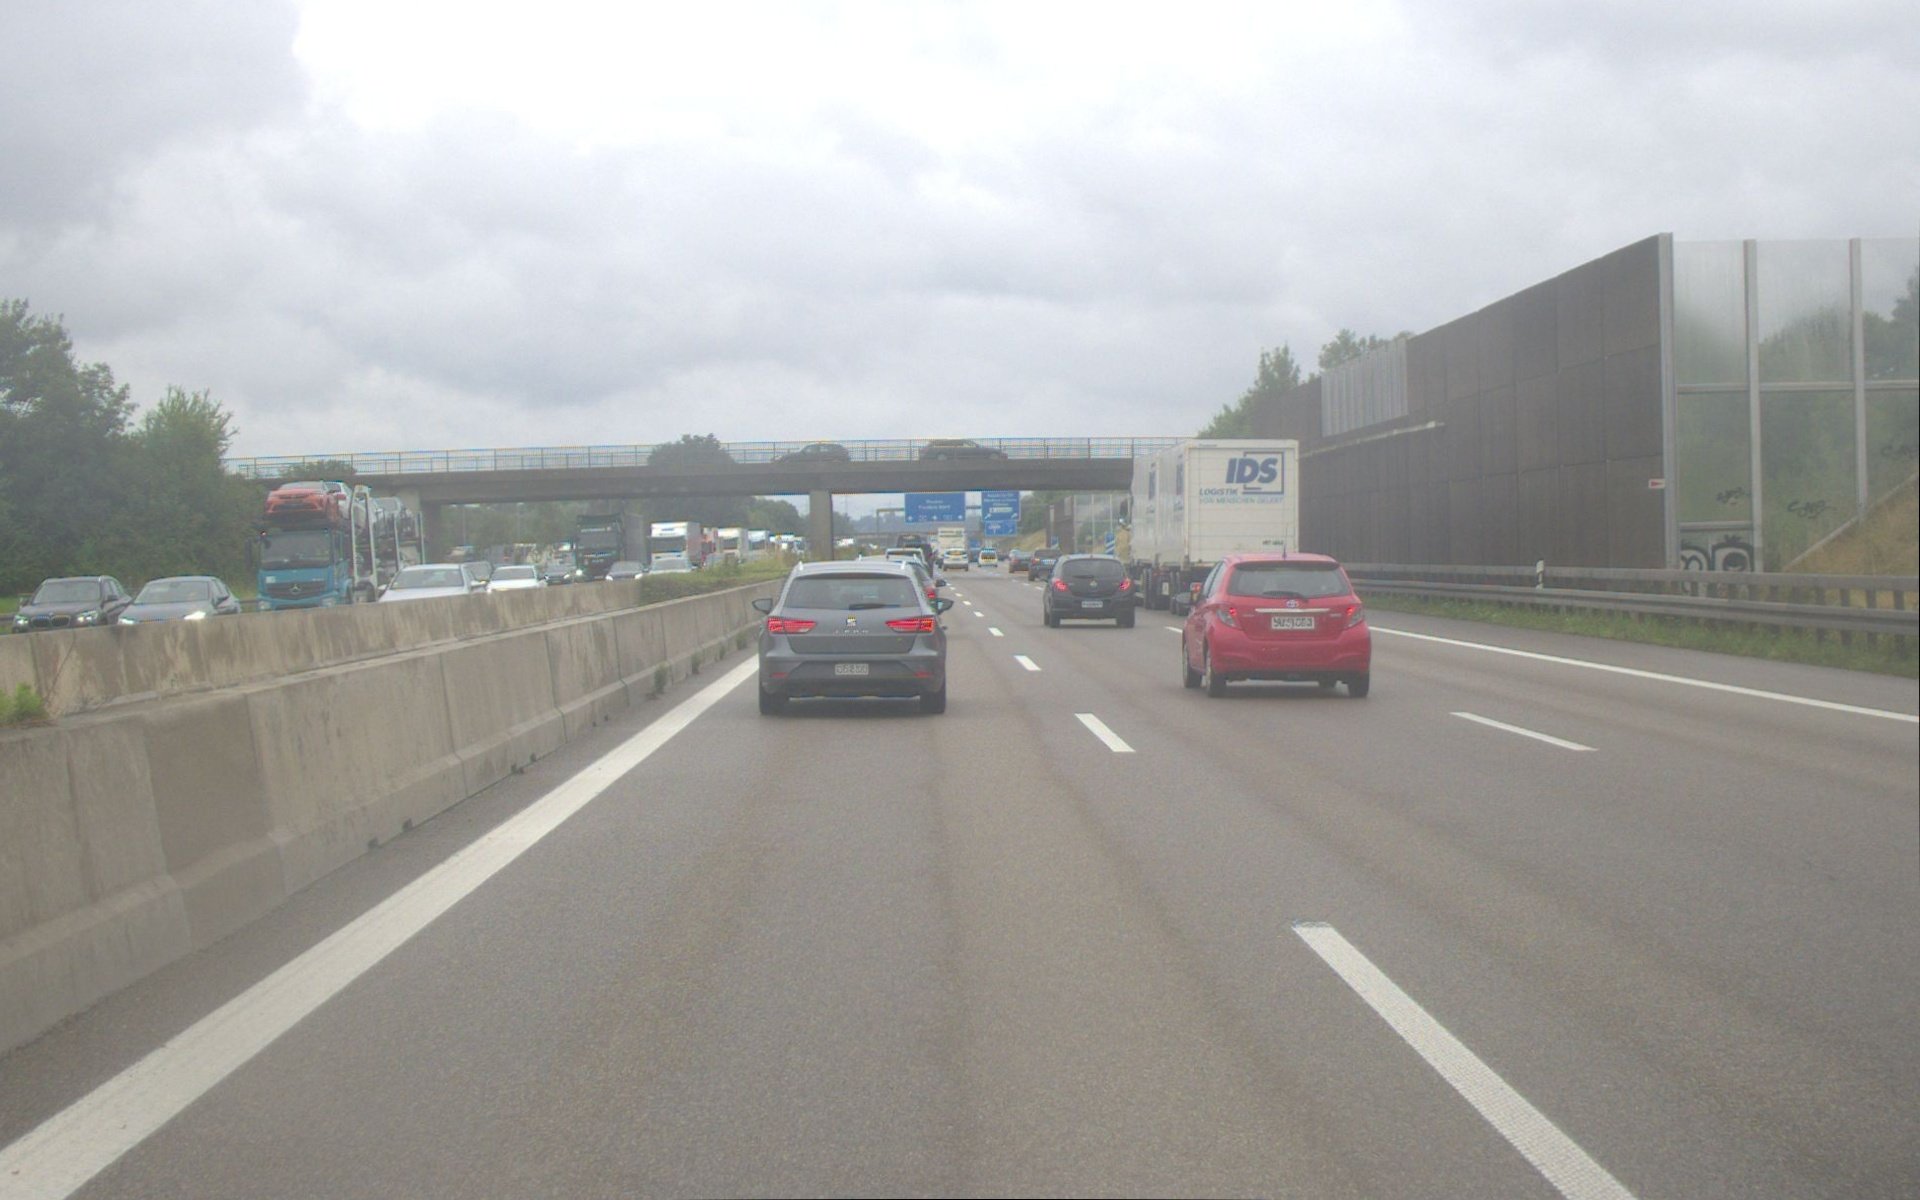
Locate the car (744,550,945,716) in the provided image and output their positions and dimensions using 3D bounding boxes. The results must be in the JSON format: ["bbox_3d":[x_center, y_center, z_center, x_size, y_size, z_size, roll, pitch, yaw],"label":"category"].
[{"bbox_3d":[-1.076,0.278,32.673,1.768,1.462,4.000,1,0,-1],"label":"car"}]

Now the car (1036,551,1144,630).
[{"bbox_3d":[2.584,-0.211,69.357,1.921,1.516,4.622,0,1,-1],"label":"car"}]

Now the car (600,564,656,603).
[{"bbox_3d":[-15.289,-0.767,158.611,2.093,1.704,4.800,0,1,0],"label":"car"}]

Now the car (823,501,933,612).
[{"bbox_3d":[-1.421,-0.766,60.267,1.825,1.844,4.000,-1,1,-1],"label":"car"}]

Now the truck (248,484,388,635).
[{"bbox_3d":[-18.562,-1.159,99.720,2.956,4.227,6.235,1,0,-1],"label":"truck"}]

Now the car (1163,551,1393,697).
[{"bbox_3d":[3.338,0.208,36.930,1.891,1.442,4.685,0,1,-2],"label":"car"}]

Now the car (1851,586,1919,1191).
[{"bbox_3d":[3.155,0.697,6.386,1.742,1.420,4.517,-1,1,-1],"label":"car"}]

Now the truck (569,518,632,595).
[{"bbox_3d":[-19.369,-2.346,185.627,2.757,4.036,6.255,1,0,-1],"label":"truck"}]

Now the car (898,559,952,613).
[{"bbox_3d":[-1.226,-0.493,119.441,1.704,1.790,3.855,-2,1,-2],"label":"car"}]

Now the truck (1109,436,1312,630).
[{"bbox_3d":[5.974,-1.556,85.849,3.283,4.280,19.034,1,0,-1],"label":"truck"}]

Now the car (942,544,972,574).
[{"bbox_3d":[-0.218,-2.870,241.757,1.993,2.007,4.242,1,0,-1],"label":"car"}]

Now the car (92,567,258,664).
[{"bbox_3d":[-14.574,0.256,64.096,2.061,1.704,4.800,0,1,-1],"label":"car"}]

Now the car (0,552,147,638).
[{"bbox_3d":[-18.646,-0.131,71.996,2.093,1.704,4.800,0,1,0],"label":"car"}]

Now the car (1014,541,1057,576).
[{"bbox_3d":[3.672,-2.009,167.693,1.845,1.681,4.000,1,0,-2],"label":"car"}]

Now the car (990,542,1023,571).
[{"bbox_3d":[3.012,-2.872,224.999,1.993,1.806,4.228,-2,1,-1],"label":"car"}]

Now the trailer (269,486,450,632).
[{"bbox_3d":[-18.636,-1.249,107.828,2.998,4.227,15.708,1,0,0],"label":"trailer"}]

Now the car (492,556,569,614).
[{"bbox_3d":[-14.321,-0.512,114.902,1.993,1.873,5.032,1,0,-1],"label":"car"}]
